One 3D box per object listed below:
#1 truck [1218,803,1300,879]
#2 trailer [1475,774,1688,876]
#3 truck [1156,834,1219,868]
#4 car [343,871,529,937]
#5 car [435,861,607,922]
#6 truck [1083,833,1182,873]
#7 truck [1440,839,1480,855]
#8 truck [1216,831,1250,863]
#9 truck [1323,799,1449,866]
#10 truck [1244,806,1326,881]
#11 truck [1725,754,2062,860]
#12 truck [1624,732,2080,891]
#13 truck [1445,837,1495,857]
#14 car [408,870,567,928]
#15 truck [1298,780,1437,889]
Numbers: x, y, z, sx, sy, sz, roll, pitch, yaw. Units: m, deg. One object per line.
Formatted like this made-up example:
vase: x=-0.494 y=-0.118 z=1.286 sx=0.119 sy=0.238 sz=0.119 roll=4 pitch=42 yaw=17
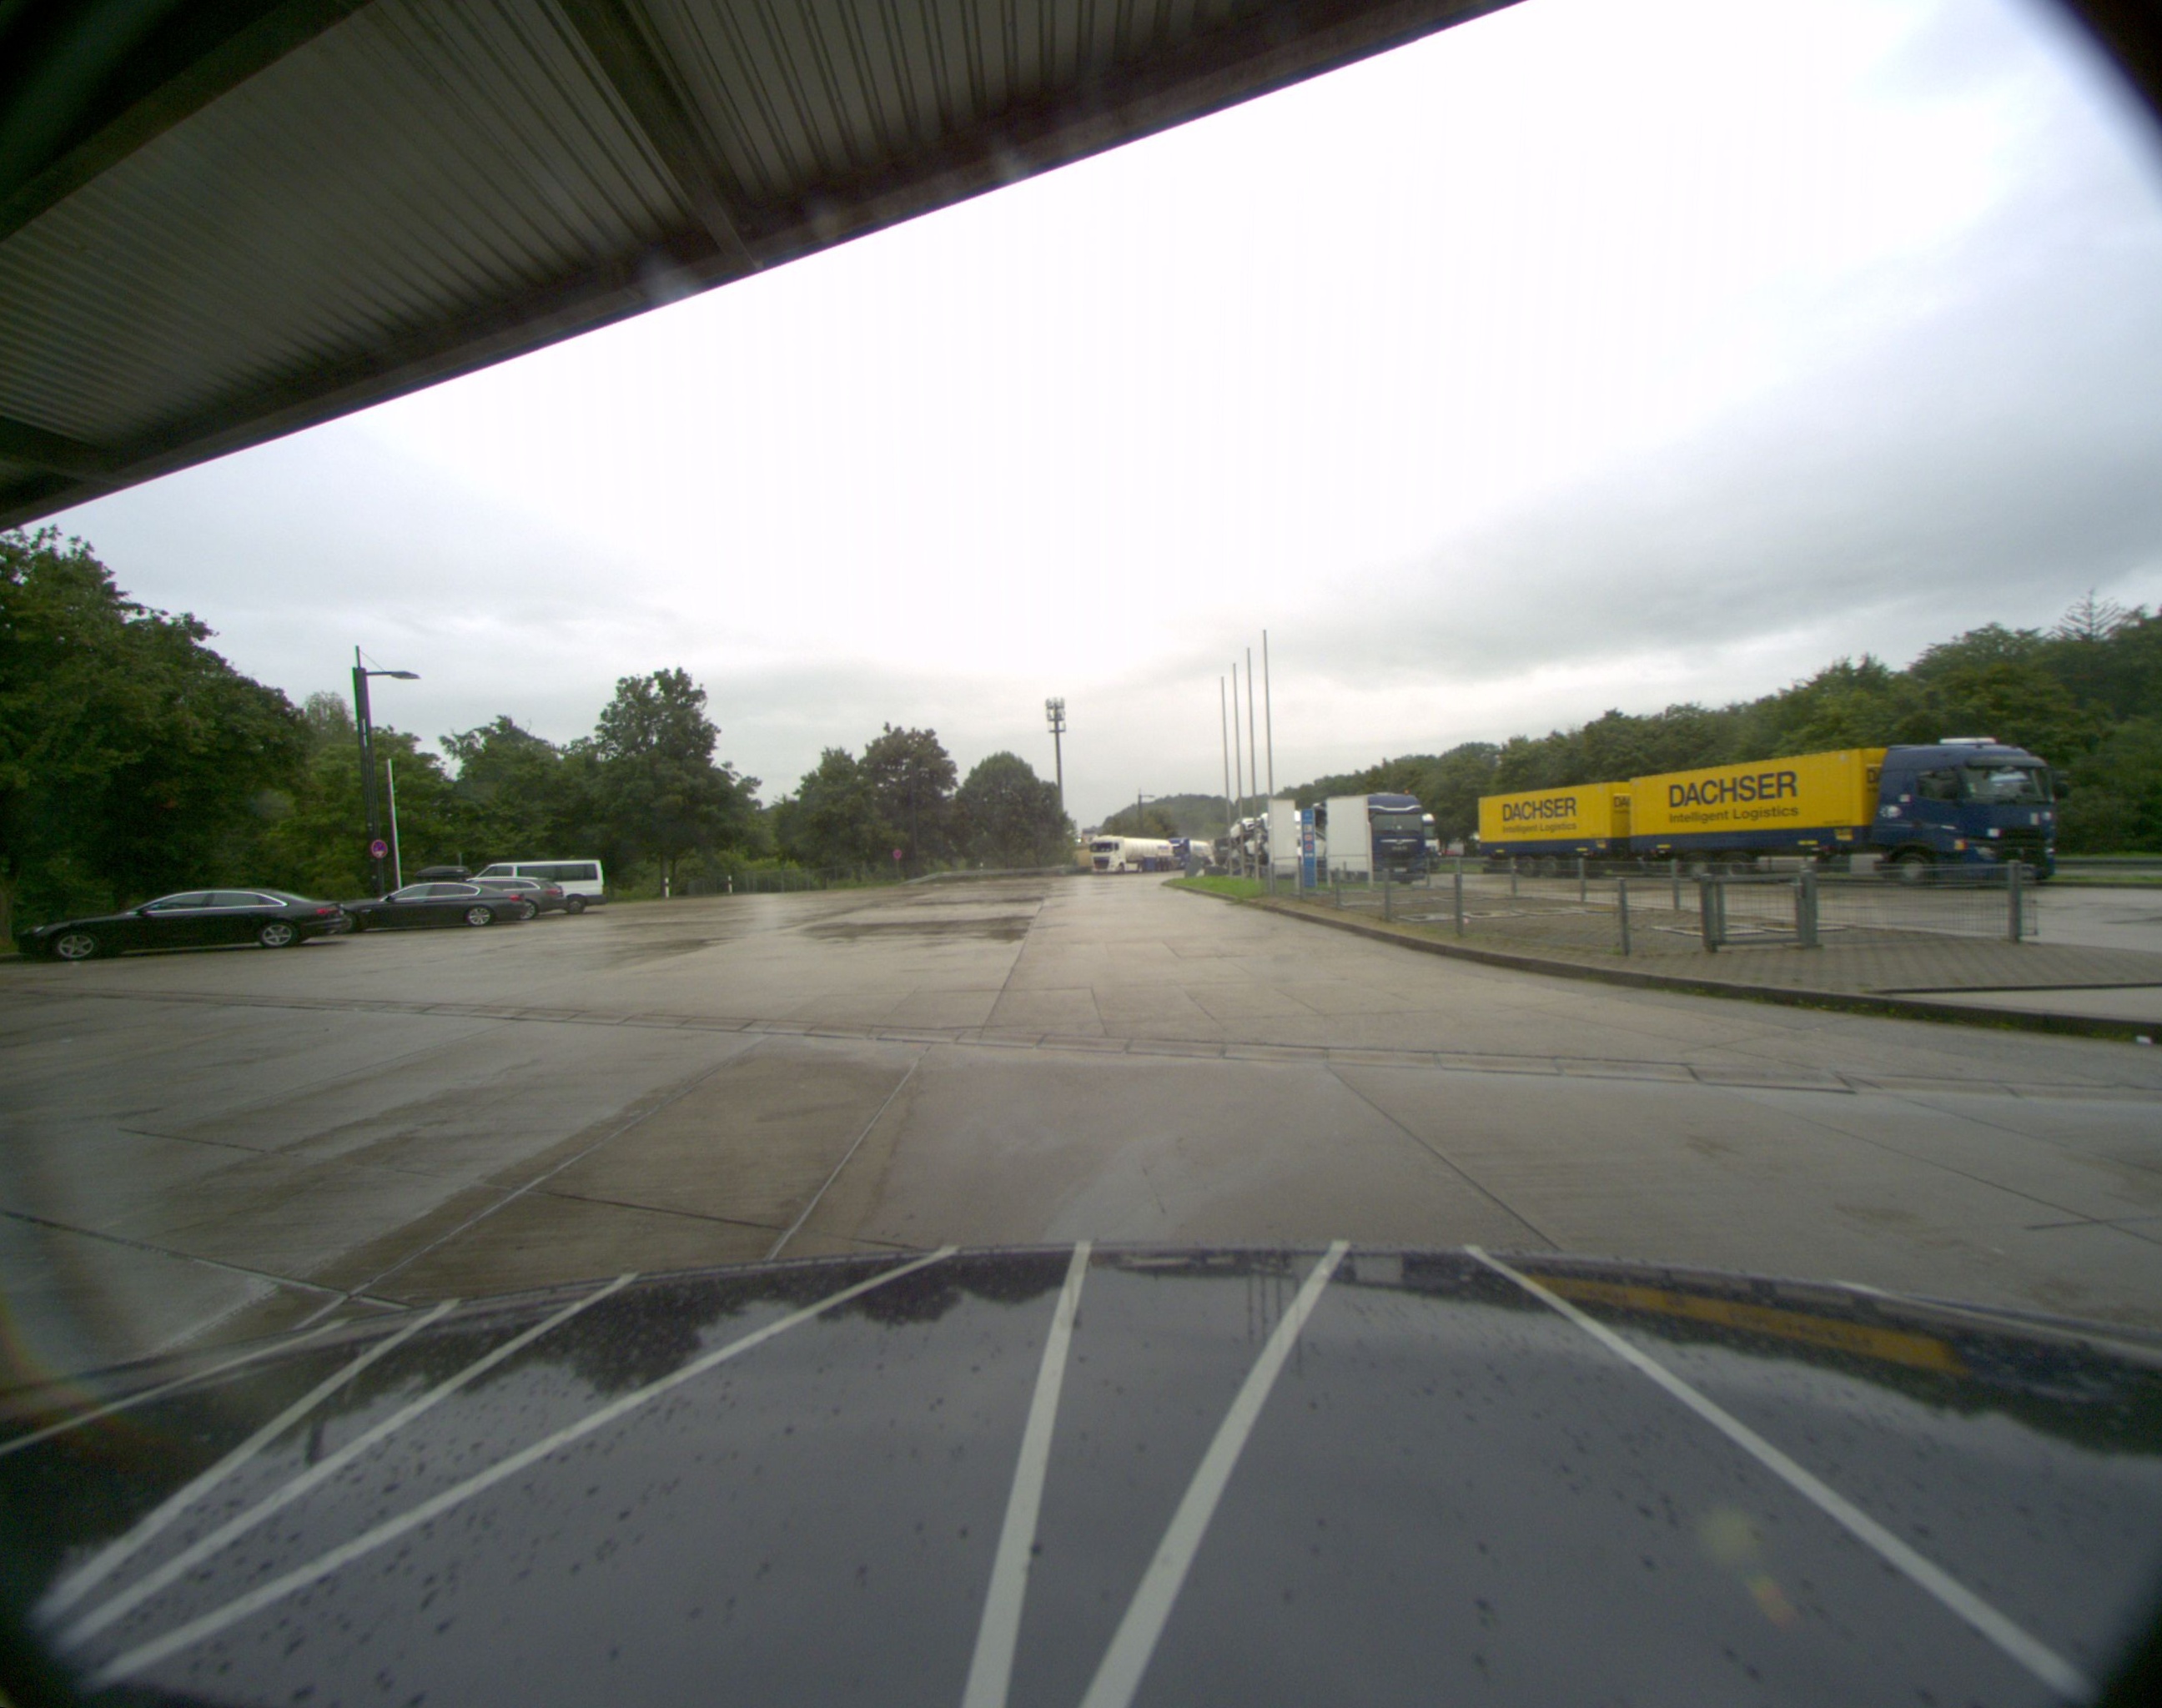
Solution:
truck: x=10.571 y=-0.722 z=45.767 sx=2.665 sy=4.157 sz=6.618 roll=-2 pitch=1 yaw=-6
trailer: x=21.792 y=-1.179 z=33.936 sx=2.757 sy=3.894 sz=8.700 roll=-2 pitch=1 yaw=-9
truck: x=12.782 y=-0.399 z=89.678 sx=3.506 sy=3.584 sz=14.685 roll=-2 pitch=0 yaw=23
car: x=-18.876 y=1.397 z=22.496 sx=4.007 sy=1.650 sz=1.596 roll=-2 pitch=0 yaw=-35
car: x=-20.427 y=1.291 z=27.984 sx=4.898 sy=1.938 sz=2.310 roll=-2 pitch=0 yaw=-35
truck: x=5.454 y=-0.157 z=75.197 sx=3.505 sy=3.584 sz=14.426 roll=-2 pitch=0 yaw=31
truck: x=48.563 y=-0.900 z=97.418 sx=2.000 sy=2.002 sz=4.929 roll=-2 pitch=1 yaw=-11
truck: x=21.397 y=-1.013 z=107.623 sx=3.143 sy=4.105 sz=11.523 roll=-2 pitch=1 yaw=3
truck: x=19.883 y=-1.294 z=50.557 sx=2.757 sy=3.894 sz=10.678 roll=-2 pitch=1 yaw=-8
truck: x=11.047 y=-0.553 z=41.577 sx=2.665 sy=3.750 sz=4.747 roll=-2 pitch=1 yaw=-6
truck: x=33.911 y=-1.754 z=32.702 sx=2.421 sy=3.785 sz=10.223 roll=-2 pitch=1 yaw=-10
truck: x=23.154 y=-1.122 z=24.315 sx=2.757 sy=3.894 sz=10.678 roll=-2 pitch=1 yaw=-8
truck: x=45.822 y=-0.816 z=89.703 sx=2.082 sy=2.112 sz=5.827 roll=-2 pitch=1 yaw=-10
car: x=-19.471 y=1.430 z=25.148 sx=4.007 sy=1.650 sz=1.596 roll=-2 pitch=0 yaw=-35
truck: x=12.184 y=-0.791 z=33.169 sx=2.665 sy=4.157 sz=7.103 roll=-2 pitch=0 yaw=-6
